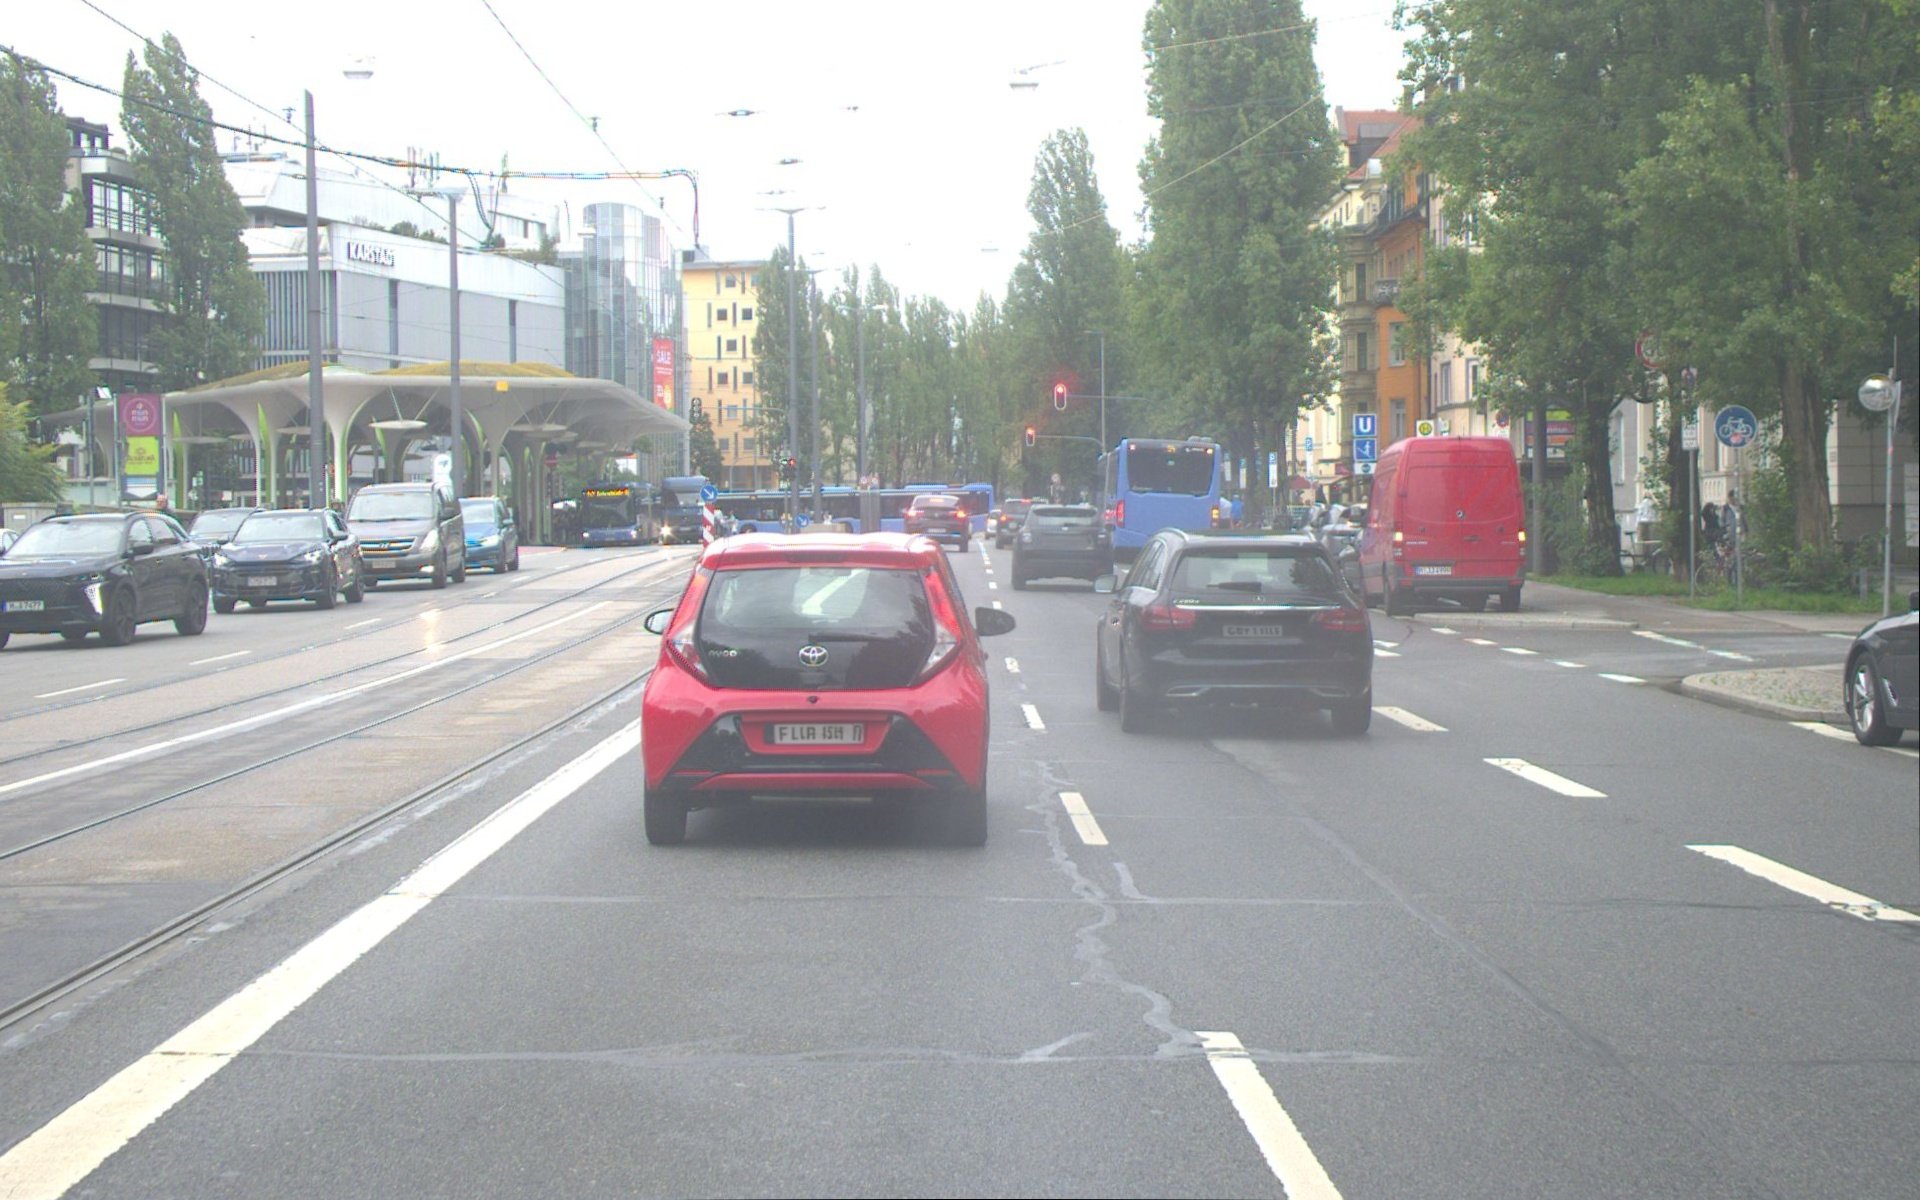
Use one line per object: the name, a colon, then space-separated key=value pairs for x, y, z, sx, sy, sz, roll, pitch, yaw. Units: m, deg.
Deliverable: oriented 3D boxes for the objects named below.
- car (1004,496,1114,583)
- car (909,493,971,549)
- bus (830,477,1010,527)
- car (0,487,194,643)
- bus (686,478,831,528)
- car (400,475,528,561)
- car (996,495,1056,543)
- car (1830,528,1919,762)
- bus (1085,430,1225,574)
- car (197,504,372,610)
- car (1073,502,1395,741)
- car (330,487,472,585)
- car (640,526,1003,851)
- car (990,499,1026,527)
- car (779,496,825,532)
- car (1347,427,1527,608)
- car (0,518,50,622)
car: x=1.739 y=-1.102 z=61.525 sx=1.781 sy=1.481 sz=4.000 roll=-1 pitch=1 yaw=-1
car: x=-0.599 y=-2.292 z=99.398 sx=1.736 sy=1.544 sz=4.577 roll=-1 pitch=2 yaw=-1
bus: x=-2.383 y=-5.782 z=202.941 sx=10.554 sy=2.836 sz=2.001 roll=0 pitch=3 yaw=-4
car: x=-10.971 y=-0.459 z=43.099 sx=1.799 sy=1.782 sz=4.519 roll=-3 pitch=1 yaw=-2
bus: x=-11.872 y=-5.697 z=202.218 sx=8.465 sy=2.836 sz=2.001 roll=-1 pitch=3 yaw=-5
car: x=-10.328 y=-1.720 z=71.885 sx=1.799 sy=1.659 sz=4.519 roll=-3 pitch=1 yaw=2
car: x=2.106 y=-2.603 z=109.956 sx=1.781 sy=1.481 sz=4.000 roll=-1 pitch=2 yaw=-1
car: x=7.151 y=0.299 z=21.971 sx=1.799 sy=1.503 sz=4.451 roll=-1 pitch=1 yaw=-4
bus: x=4.944 y=-2.646 z=89.016 sx=2.906 sy=3.384 sz=10.808 roll=0 pitch=3 yaw=-1
car: x=-10.665 y=-0.718 z=54.556 sx=1.799 sy=1.525 sz=4.519 roll=-3 pitch=1 yaw=0
car: x=1.959 y=0.081 z=25.913 sx=1.863 sy=1.543 sz=4.704 roll=-1 pitch=2 yaw=-2
car: x=-10.213 y=-1.191 z=63.108 sx=1.799 sy=1.659 sz=4.519 roll=-3 pitch=1 yaw=0
car: x=-0.716 y=0.364 z=17.165 sx=1.628 sy=1.435 sz=3.377 roll=0 pitch=2 yaw=-3
car: x=2.534 y=-4.629 z=182.880 sx=1.781 sy=1.481 sz=4.000 roll=-1 pitch=2 yaw=-1
car: x=-6.717 y=-3.648 z=146.274 sx=1.781 sy=1.481 sz=4.000 roll=-1 pitch=1 yaw=-1
car: x=7.115 y=-1.301 z=51.706 sx=1.993 sy=2.565 sz=4.680 roll=0 pitch=3 yaw=-1
car: x=-15.158 y=-0.430 z=51.897 sx=1.799 sy=1.525 sz=4.520 roll=-3 pitch=1 yaw=-3
